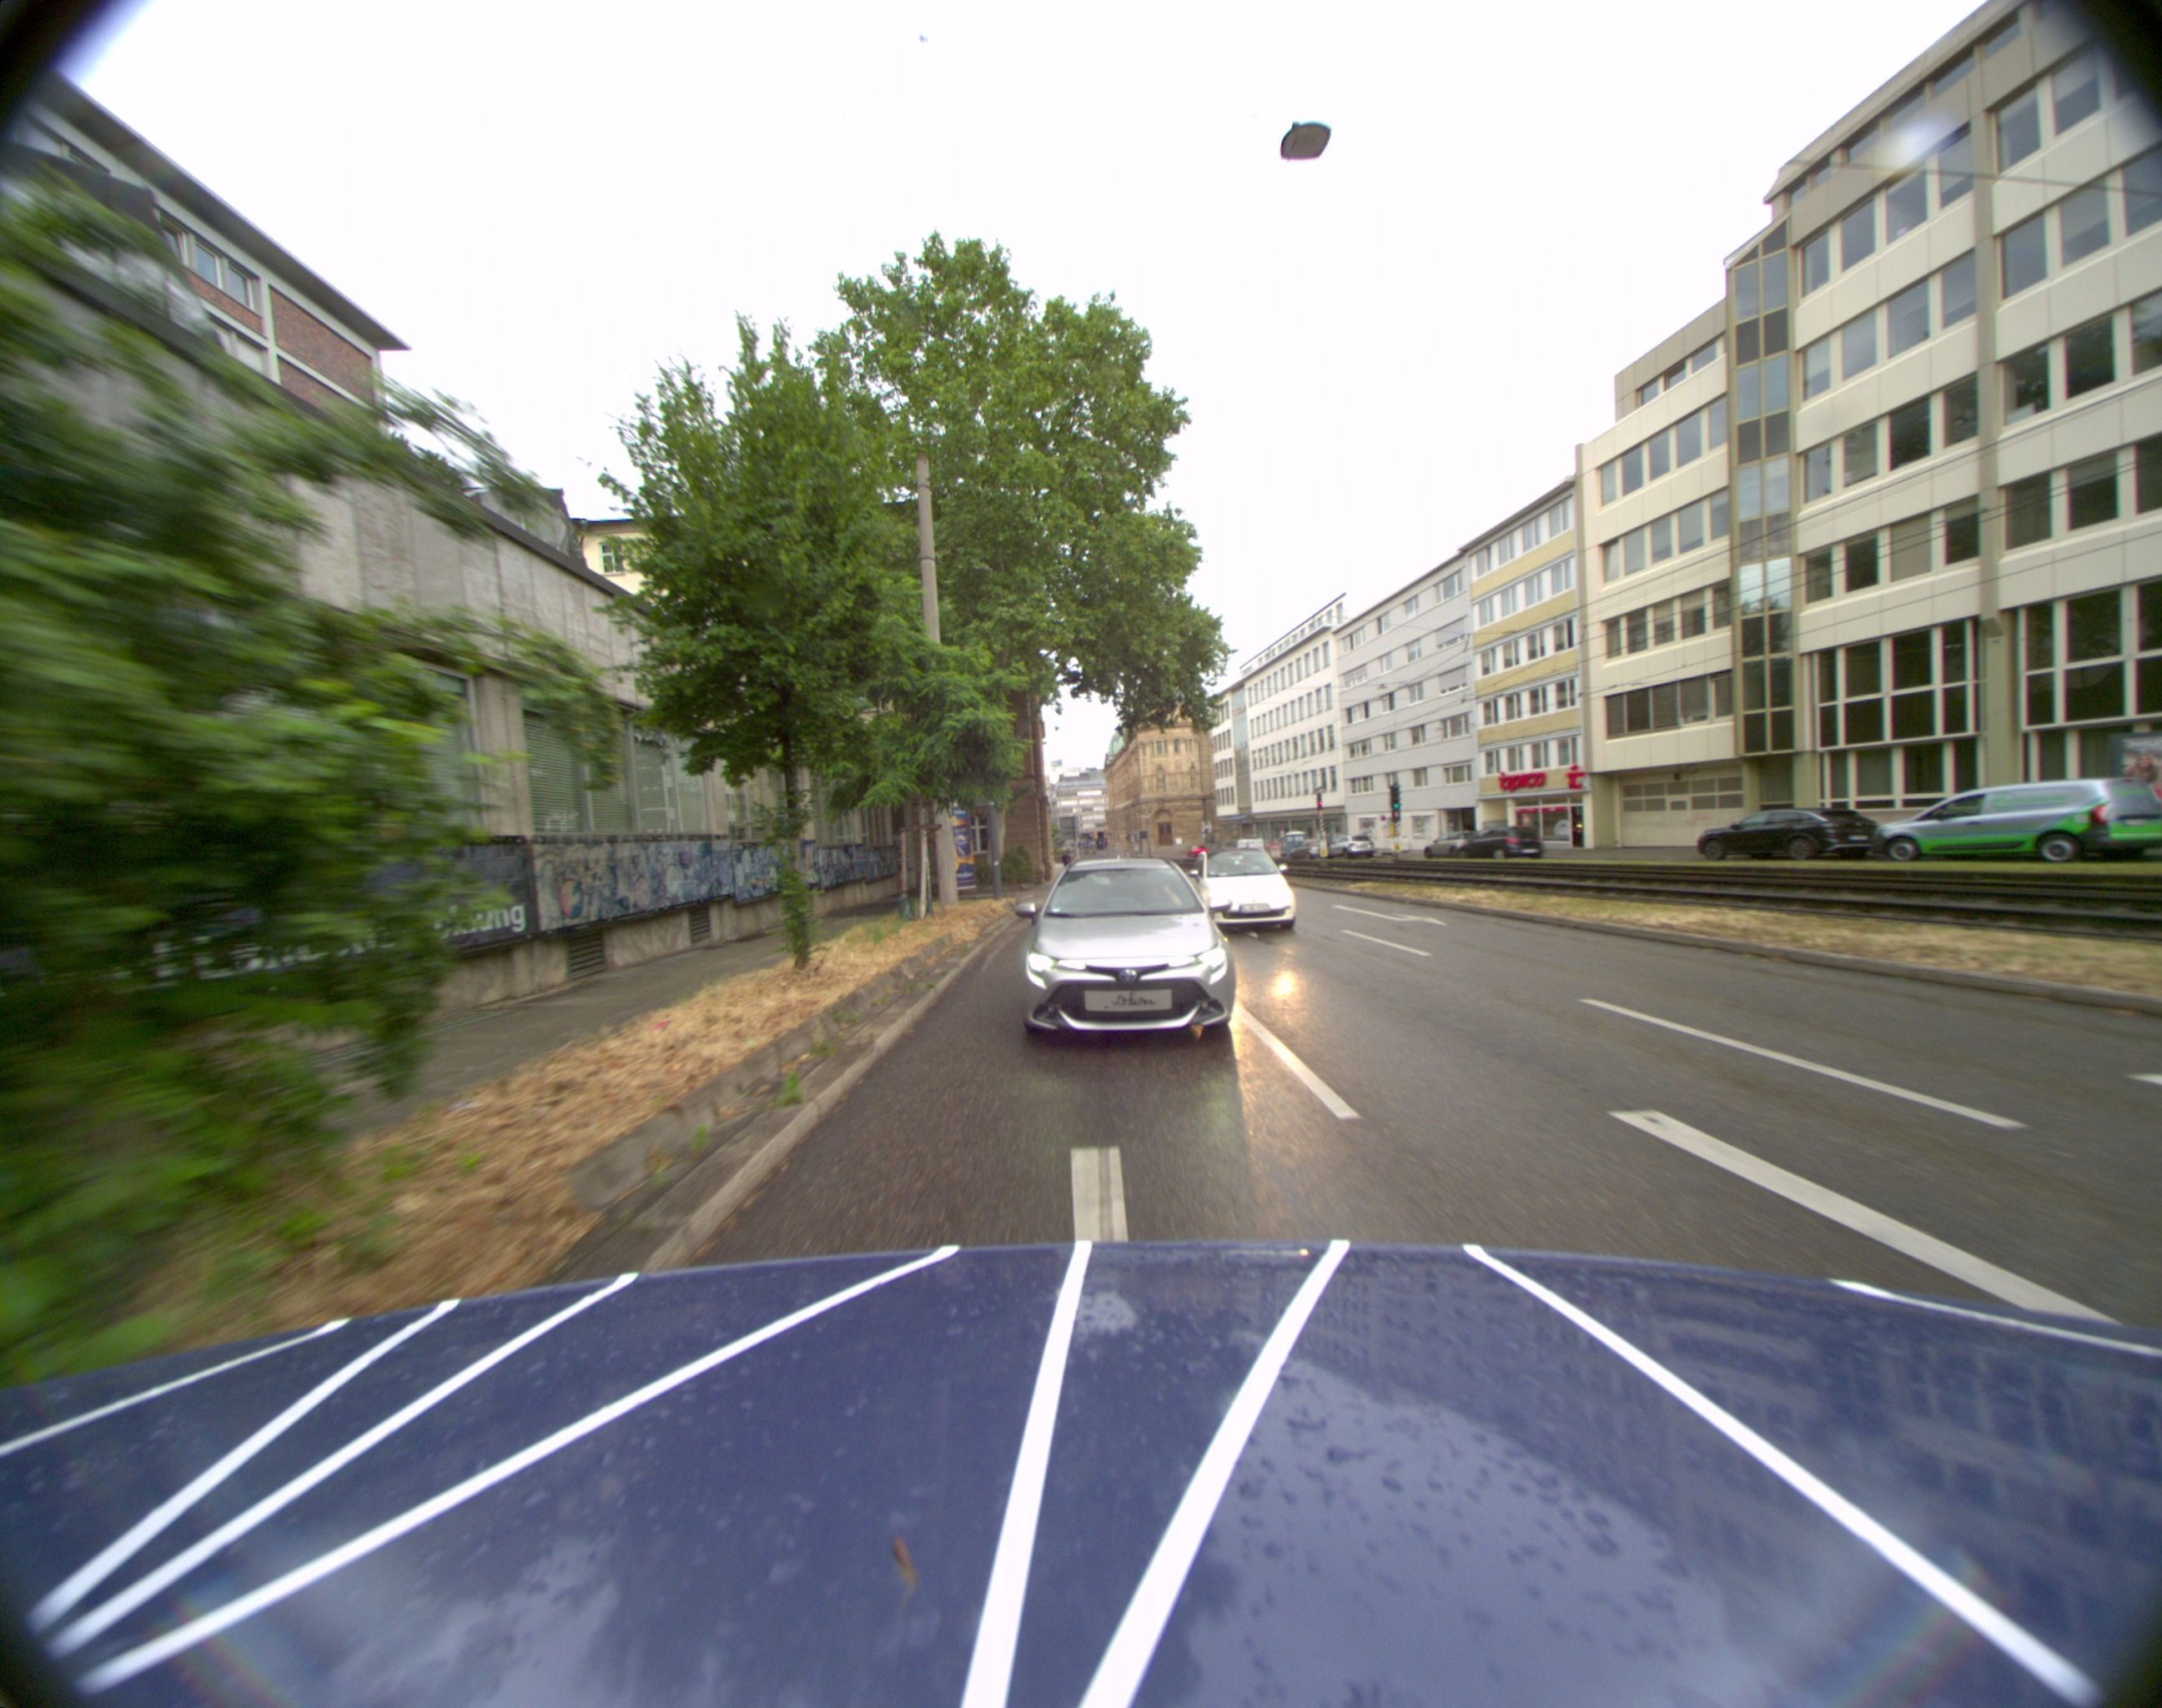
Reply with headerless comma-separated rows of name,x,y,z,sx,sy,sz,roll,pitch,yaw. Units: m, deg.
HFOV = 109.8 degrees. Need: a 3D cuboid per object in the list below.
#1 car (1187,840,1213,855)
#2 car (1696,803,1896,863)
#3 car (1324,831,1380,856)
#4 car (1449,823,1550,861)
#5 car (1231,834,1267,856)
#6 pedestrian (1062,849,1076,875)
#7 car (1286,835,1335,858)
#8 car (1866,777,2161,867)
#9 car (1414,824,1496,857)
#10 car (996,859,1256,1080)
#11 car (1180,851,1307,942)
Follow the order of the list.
car,14.526,-0.838,92.972,1.890,1.615,4.474,-5,1,-7
car,21.062,-0.599,22.640,1.801,1.505,4.074,-5,1,-7
car,18.247,-0.698,51.329,1.890,1.505,4.074,-5,1,-7
car,17.194,-0.488,31.434,1.632,1.349,3.869,-5,1,-6
car,16.309,-0.880,73.818,1.890,1.924,4.474,-5,1,-7
pedestrian,-0.830,0.545,51.836,0.719,1.630,0.760,-5,2,10
car,15.234,-0.469,50.570,1.632,1.349,3.869,-5,1,-6
car,21.501,-0.691,17.678,1.801,1.736,4.213,-5,1,-8
car,19.483,-0.711,39.774,1.801,1.505,4.074,-5,1,-7
car,0.344,0.848,7.599,1.811,1.426,4.297,-2,1,0
car,2.953,0.704,14.473,1.654,1.426,3.439,-2,1,0
